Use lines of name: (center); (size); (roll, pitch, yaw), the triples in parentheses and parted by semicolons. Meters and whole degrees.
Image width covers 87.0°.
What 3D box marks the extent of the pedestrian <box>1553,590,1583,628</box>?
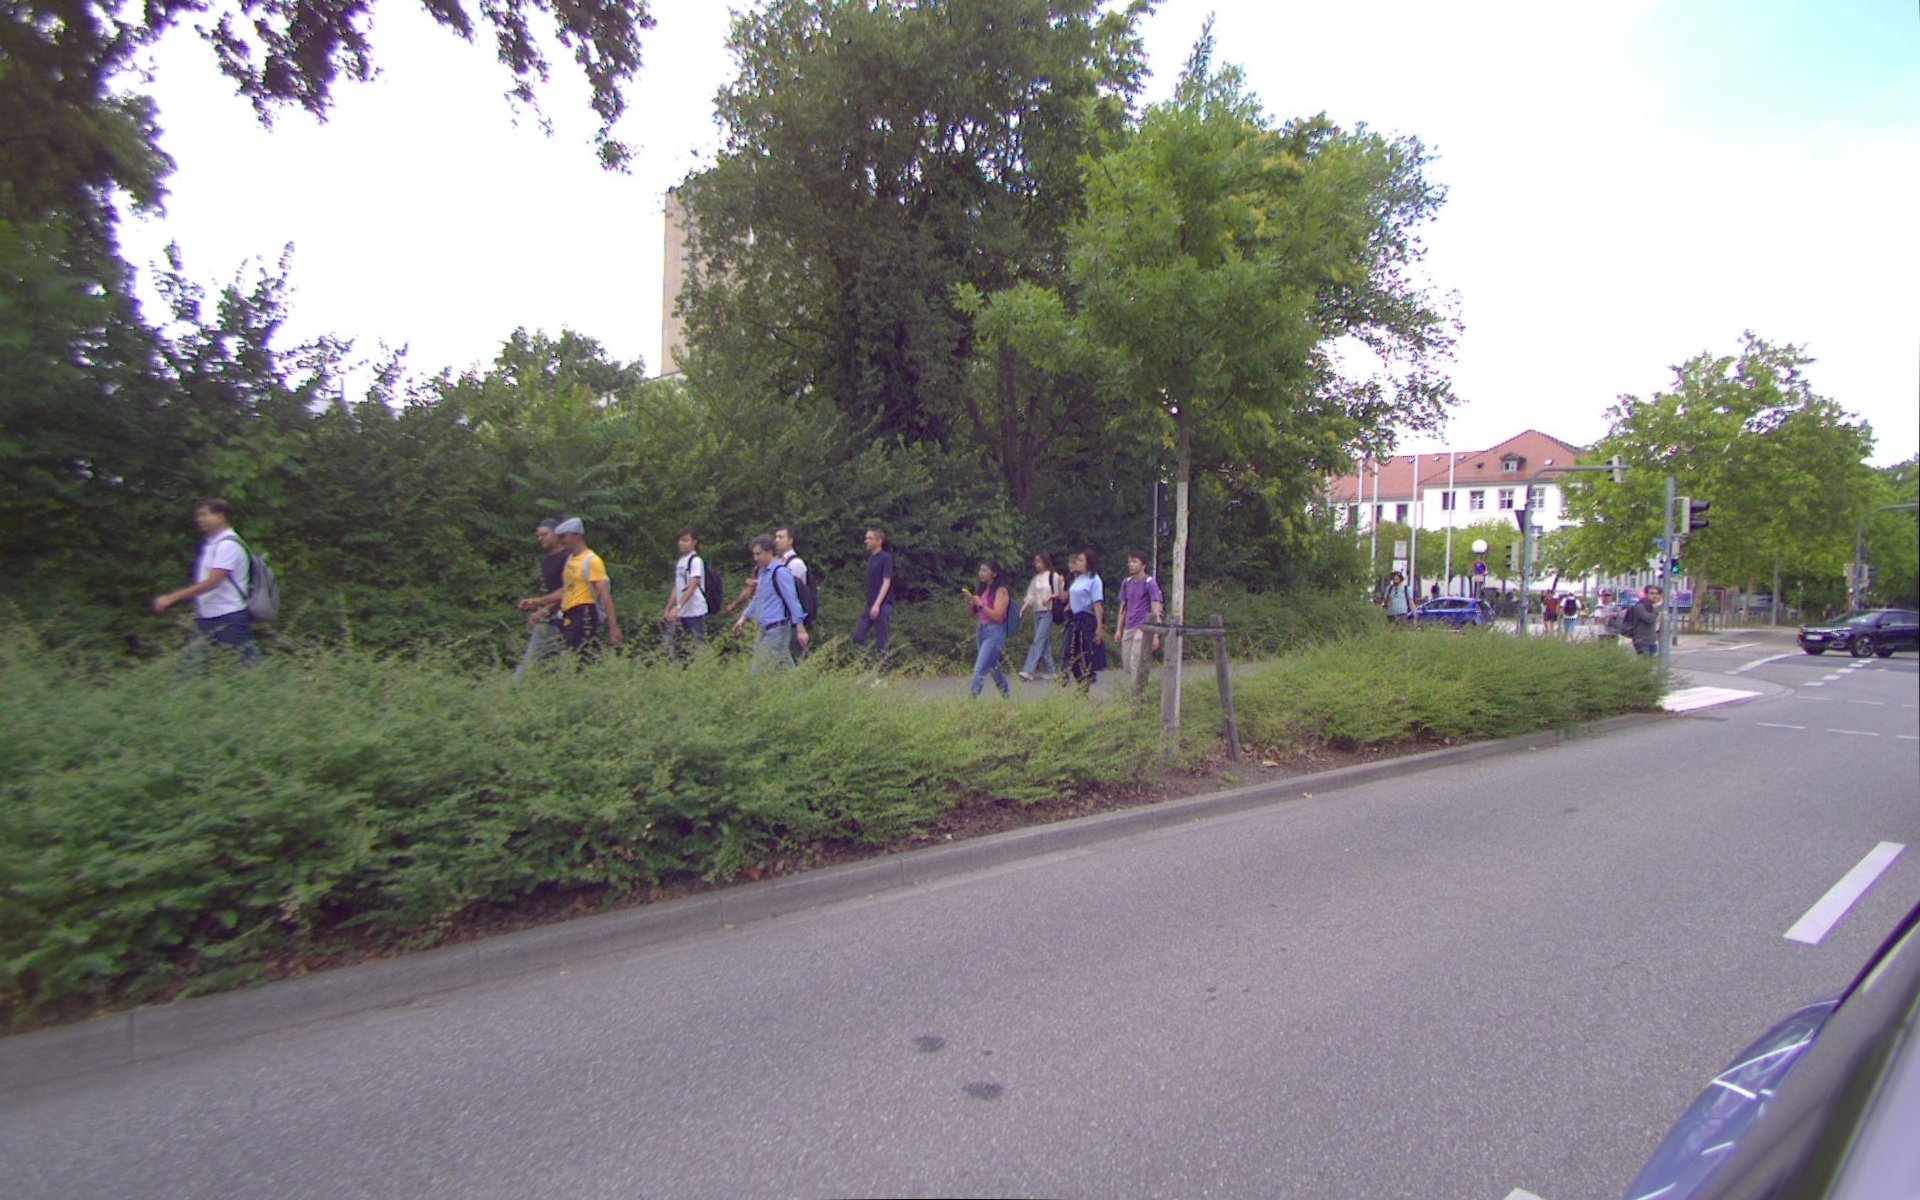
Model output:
pedestrian: (27.508, 0.394, 45.776); (0.687, 1.730, 0.956); (1, 0, -25)

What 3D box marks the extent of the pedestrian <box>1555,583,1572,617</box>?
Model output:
pedestrian: (35.882, -0.015, 60.206); (0.674, 1.988, 0.601); (0, 0, 7)

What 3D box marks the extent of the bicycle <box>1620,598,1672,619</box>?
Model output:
bicycle: (40.847, 0.510, 60.270); (0.705, 1.156, 2.470); (1, 1, -42)

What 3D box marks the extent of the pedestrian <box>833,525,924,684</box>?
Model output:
pedestrian: (-0.943, 0.039, 11.696); (0.767, 1.767, 0.657); (1, 1, -42)

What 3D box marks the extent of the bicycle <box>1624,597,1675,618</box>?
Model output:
bicycle: (42.001, 0.439, 61.692); (0.705, 1.156, 2.470); (1, 1, -42)

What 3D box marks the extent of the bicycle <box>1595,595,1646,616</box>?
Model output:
bicycle: (39.396, 0.292, 60.395); (0.705, 1.156, 2.470); (1, 1, -42)

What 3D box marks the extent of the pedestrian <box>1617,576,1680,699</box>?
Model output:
pedestrian: (10.225, 0.538, 15.036); (0.643, 1.756, 0.602); (1, 1, -43)

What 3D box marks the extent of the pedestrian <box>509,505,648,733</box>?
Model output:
pedestrian: (-3.051, 0.130, 8.106); (0.827, 1.710, 0.657); (1, 1, -43)

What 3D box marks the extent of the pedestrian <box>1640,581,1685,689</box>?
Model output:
pedestrian: (11.771, 0.573, 16.952); (0.626, 1.756, 0.454); (1, 1, -43)

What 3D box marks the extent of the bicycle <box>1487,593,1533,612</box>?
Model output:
bicycle: (35.294, 0.137, 64.981); (0.705, 1.156, 2.470); (1, 1, -42)

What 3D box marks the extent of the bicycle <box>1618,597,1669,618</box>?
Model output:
bicycle: (41.288, 0.441, 61.145); (0.705, 1.156, 2.470); (1, 1, -42)

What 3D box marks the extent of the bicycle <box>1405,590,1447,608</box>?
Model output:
bicycle: (31.568, -0.083, 68.588); (0.705, 1.156, 2.470); (1, 1, -42)

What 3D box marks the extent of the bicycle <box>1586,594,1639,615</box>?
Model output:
bicycle: (38.111, 0.260, 59.155); (0.705, 1.156, 2.470); (1, 1, -42)

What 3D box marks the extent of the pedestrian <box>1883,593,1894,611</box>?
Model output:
pedestrian: (83.877, 0.214, 91.434); (0.645, 1.584, 0.791); (2, 1, 45)

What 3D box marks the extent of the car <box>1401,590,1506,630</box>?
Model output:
car: (20.397, 0.370, 41.924); (1.647, 1.510, 3.575); (-1, 2, -43)

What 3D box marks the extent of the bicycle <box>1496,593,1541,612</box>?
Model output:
bicycle: (36.473, 0.135, 66.074); (0.705, 1.156, 2.470); (1, 1, -42)

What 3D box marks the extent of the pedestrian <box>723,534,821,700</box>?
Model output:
pedestrian: (-2.032, 0.164, 10.940); (0.767, 1.720, 0.657); (1, 1, -42)

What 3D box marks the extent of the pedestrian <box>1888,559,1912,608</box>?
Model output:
pedestrian: (36.203, -0.634, 38.980); (0.670, 1.839, 0.574); (1, 1, -41)

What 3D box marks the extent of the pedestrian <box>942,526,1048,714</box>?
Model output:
pedestrian: (0.345, 0.174, 9.999); (0.767, 1.767, 0.657); (1, 1, -42)

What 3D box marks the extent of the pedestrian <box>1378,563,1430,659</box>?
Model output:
pedestrian: (8.634, 0.195, 19.677); (0.728, 1.818, 0.645); (1, 1, -43)

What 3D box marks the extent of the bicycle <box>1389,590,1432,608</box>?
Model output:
bicycle: (29.769, -0.074, 66.884); (0.705, 1.156, 2.470); (1, 1, -42)

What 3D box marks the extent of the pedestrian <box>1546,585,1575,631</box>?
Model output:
pedestrian: (24.391, 0.304, 41.100); (0.875, 1.827, 0.769); (1, 0, -39)

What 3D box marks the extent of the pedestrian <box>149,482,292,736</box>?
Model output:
pedestrian: (-5.529, 0.049, 7.562); (0.798, 1.766, 0.723); (1, 1, -40)

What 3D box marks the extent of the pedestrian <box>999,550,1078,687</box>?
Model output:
pedestrian: (1.051, 0.228, 13.487); (0.767, 1.767, 0.657); (1, 1, -42)

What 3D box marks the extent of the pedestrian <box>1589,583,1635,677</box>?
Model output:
pedestrian: (12.214, 0.541, 18.947); (0.626, 1.708, 0.546); (1, 1, -43)

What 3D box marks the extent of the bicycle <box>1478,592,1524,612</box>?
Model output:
bicycle: (34.124, 0.105, 63.889); (0.705, 1.156, 2.470); (1, 1, -42)

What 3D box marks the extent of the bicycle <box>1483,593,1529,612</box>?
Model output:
bicycle: (34.723, 0.139, 64.445); (0.705, 1.156, 2.470); (1, 1, -42)

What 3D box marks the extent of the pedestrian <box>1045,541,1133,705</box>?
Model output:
pedestrian: (1.457, 0.239, 11.410); (0.776, 1.767, 0.582); (1, 1, -43)

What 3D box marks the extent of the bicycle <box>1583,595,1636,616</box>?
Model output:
bicycle: (37.340, 0.310, 58.182); (0.705, 1.156, 2.470); (1, 1, -42)

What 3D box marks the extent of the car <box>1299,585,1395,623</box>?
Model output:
car: (17.352, 0.144, 45.476); (1.647, 1.586, 3.687); (-1, 2, -43)

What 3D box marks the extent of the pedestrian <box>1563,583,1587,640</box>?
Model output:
pedestrian: (20.794, 0.374, 34.212); (0.643, 1.875, 0.819); (1, 0, 35)

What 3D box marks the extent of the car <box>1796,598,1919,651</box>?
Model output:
car: (29.047, 0.745, 31.660); (4.102, 1.576, 1.803); (0, 0, 5)

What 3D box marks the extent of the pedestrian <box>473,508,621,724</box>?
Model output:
pedestrian: (-3.452, 0.114, 8.470); (0.955, 1.687, 0.657); (1, 1, -43)

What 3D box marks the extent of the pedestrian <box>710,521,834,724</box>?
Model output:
pedestrian: (-1.638, 0.172, 8.821); (0.798, 1.668, 0.657); (1, 1, -43)

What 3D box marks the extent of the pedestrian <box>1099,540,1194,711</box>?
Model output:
pedestrian: (2.014, 0.251, 10.919); (0.767, 1.767, 0.625); (1, 1, -43)

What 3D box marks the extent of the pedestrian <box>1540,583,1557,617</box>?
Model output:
pedestrian: (35.042, -0.022, 60.284); (0.674, 1.988, 0.601); (0, 0, 7)

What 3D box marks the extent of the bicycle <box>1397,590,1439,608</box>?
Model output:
bicycle: (30.627, -0.078, 67.690); (0.705, 1.156, 2.470); (1, 1, -42)

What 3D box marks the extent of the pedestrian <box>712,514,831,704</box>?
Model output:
pedestrian: (-1.877, 0.080, 10.105); (0.941, 1.788, 0.657); (1, 1, -43)

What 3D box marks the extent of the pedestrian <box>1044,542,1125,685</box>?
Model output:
pedestrian: (1.605, 0.154, 13.034); (0.767, 1.767, 0.657); (1, 1, -42)
